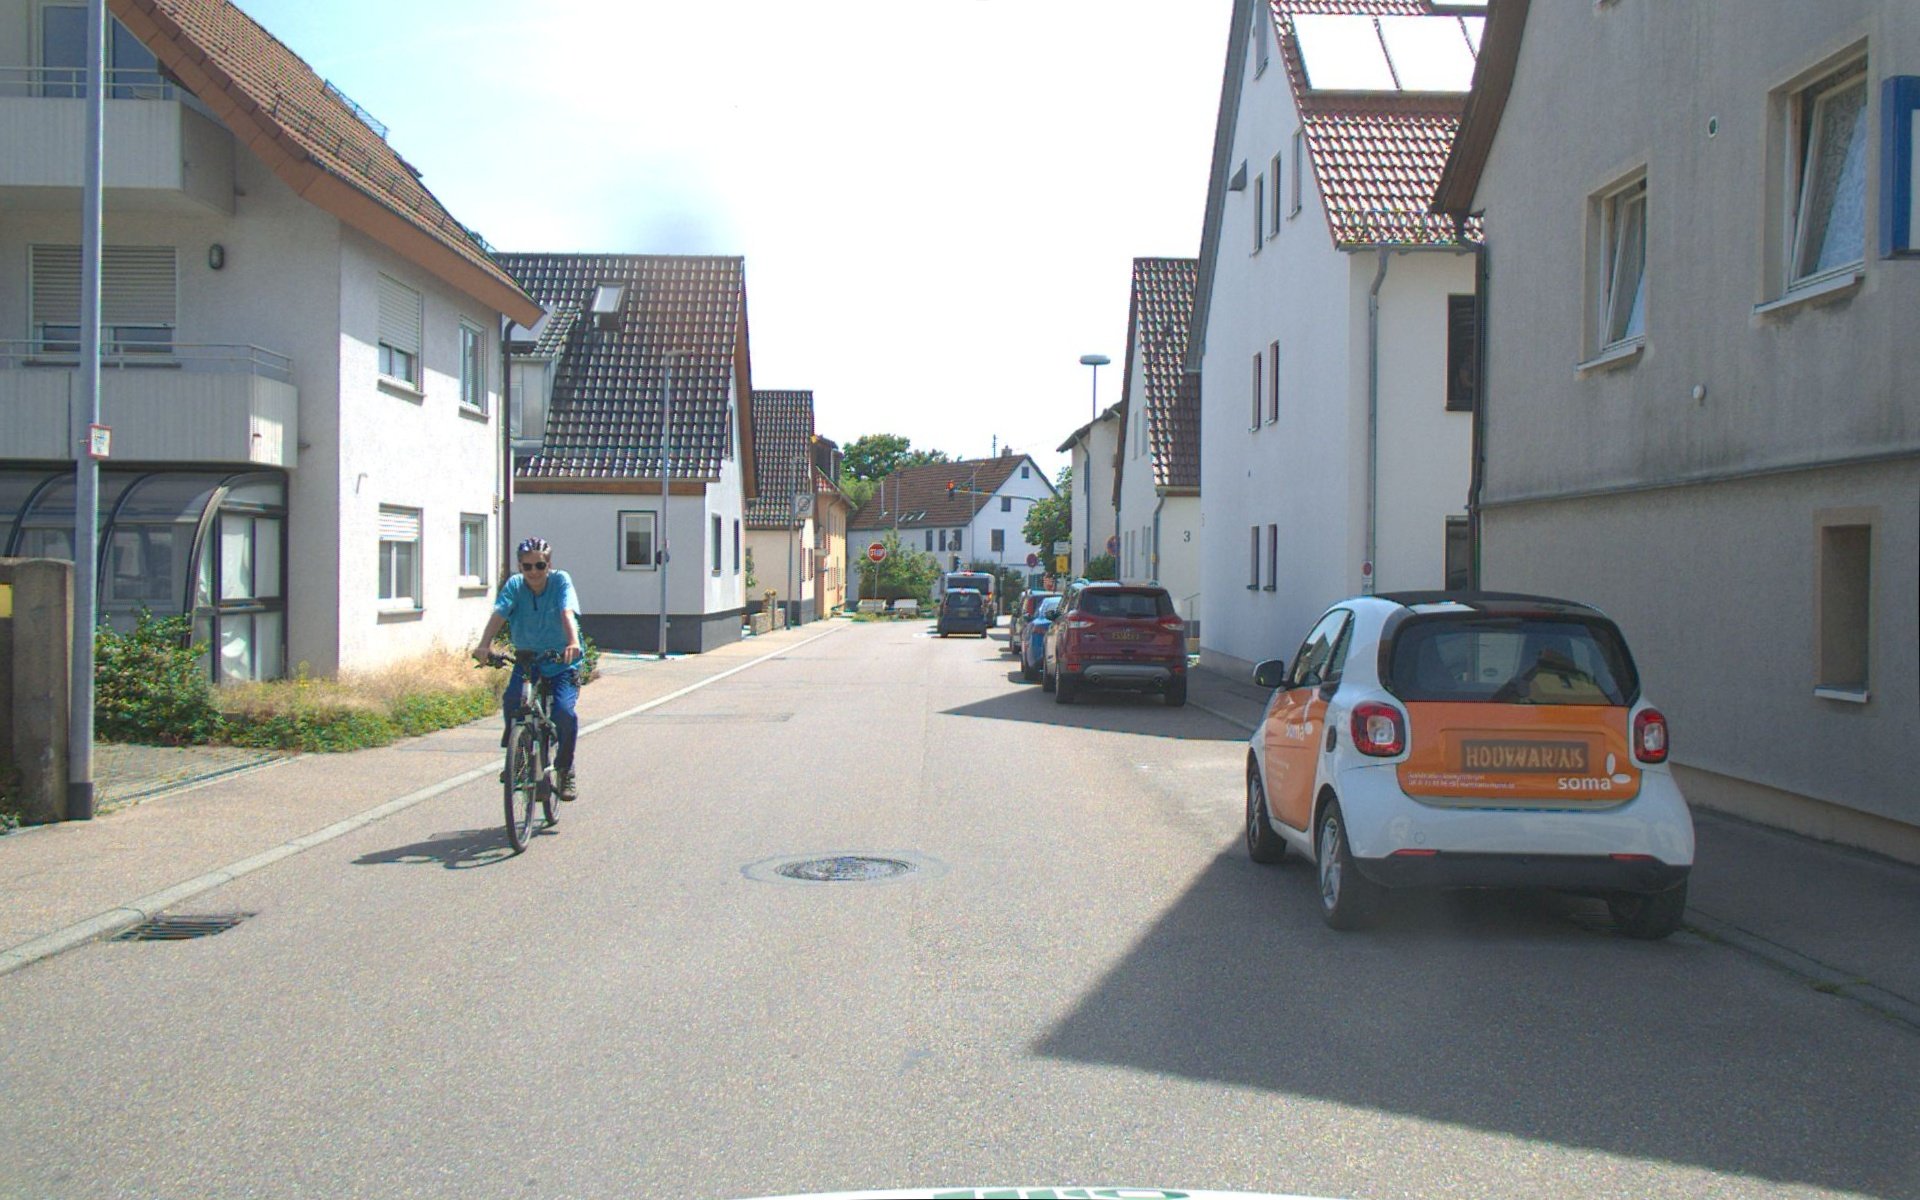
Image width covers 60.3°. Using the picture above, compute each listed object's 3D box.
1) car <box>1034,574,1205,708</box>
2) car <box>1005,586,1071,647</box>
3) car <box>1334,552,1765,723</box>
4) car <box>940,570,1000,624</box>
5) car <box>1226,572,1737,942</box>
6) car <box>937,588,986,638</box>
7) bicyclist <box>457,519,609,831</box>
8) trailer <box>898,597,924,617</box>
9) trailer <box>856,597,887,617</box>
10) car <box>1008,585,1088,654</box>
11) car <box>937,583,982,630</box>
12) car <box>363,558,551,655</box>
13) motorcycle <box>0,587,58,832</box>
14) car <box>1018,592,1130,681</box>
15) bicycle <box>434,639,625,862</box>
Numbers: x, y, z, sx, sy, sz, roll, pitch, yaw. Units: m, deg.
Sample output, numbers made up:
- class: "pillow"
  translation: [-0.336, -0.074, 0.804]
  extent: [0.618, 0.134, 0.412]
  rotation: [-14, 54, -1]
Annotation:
- class: "car"
  translation: [2.199, 0.527, 23.939]
  extent: [1.838, 1.730, 4.181]
  rotation: [1, 0, -3]
- class: "car"
  translation: [2.051, 0.410, 44.031]
  extent: [1.468, 1.539, 3.360]
  rotation: [1, 0, -2]
- class: "car"
  translation: [6.954, 0.427, 19.804]
  extent: [4.426, 1.875, 1.999]
  rotation: [1, 0, -4]
- class: "car"
  translation: [0.460, -0.134, 69.083]
  extent: [2.084, 2.196, 4.739]
  rotation: [0, 0, 5]
- class: "car"
  translation: [2.515, 0.676, 8.699]
  extent: [1.640, 1.586, 3.039]
  rotation: [1, 0, -2]
- class: "car"
  translation: [0.071, 0.408, 54.734]
  extent: [1.484, 1.594, 3.185]
  rotation: [1, 0, 2]
- class: "bicyclist"
  translation: [-2.608, 0.439, 10.190]
  extent: [0.699, 1.830, 0.941]
  rotation: [1, 0, -3]
- class: "trailer"
  translation: [-2.501, 0.376, 84.496]
  extent: [1.284, 0.987, 0.933]
  rotation: [1, 0, 0]
- class: "trailer"
  translation: [-4.520, 0.335, 84.621]
  extent: [1.471, 0.943, 1.012]
  rotation: [2, 0, 0]
- class: "car"
  translation: [2.078, 0.446, 39.823]
  extent: [1.536, 1.572, 3.447]
  rotation: [1, 0, -3]
- class: "car"
  translation: [-0.005, 0.221, 59.815]
  extent: [1.484, 1.653, 3.185]
  rotation: [0, 0, 2]
- class: "car"
  translation: [-9.678, 0.114, 31.987]
  extent: [3.048, 1.604, 1.713]
  rotation: [4, 0, -3]
- class: "motorcycle"
  translation: [-5.919, 0.635, 9.023]
  extent: [0.767, 1.417, 2.352]
  rotation: [0, 0, -2]
- class: "car"
  translation: [1.989, 0.602, 30.007]
  extent: [1.727, 1.448, 4.592]
  rotation: [1, 0, 0]
- class: "bicycle"
  translation: [-2.575, 0.850, 10.146]
  extent: [0.657, 1.152, 2.188]
  rotation: [1, 0, -2]
